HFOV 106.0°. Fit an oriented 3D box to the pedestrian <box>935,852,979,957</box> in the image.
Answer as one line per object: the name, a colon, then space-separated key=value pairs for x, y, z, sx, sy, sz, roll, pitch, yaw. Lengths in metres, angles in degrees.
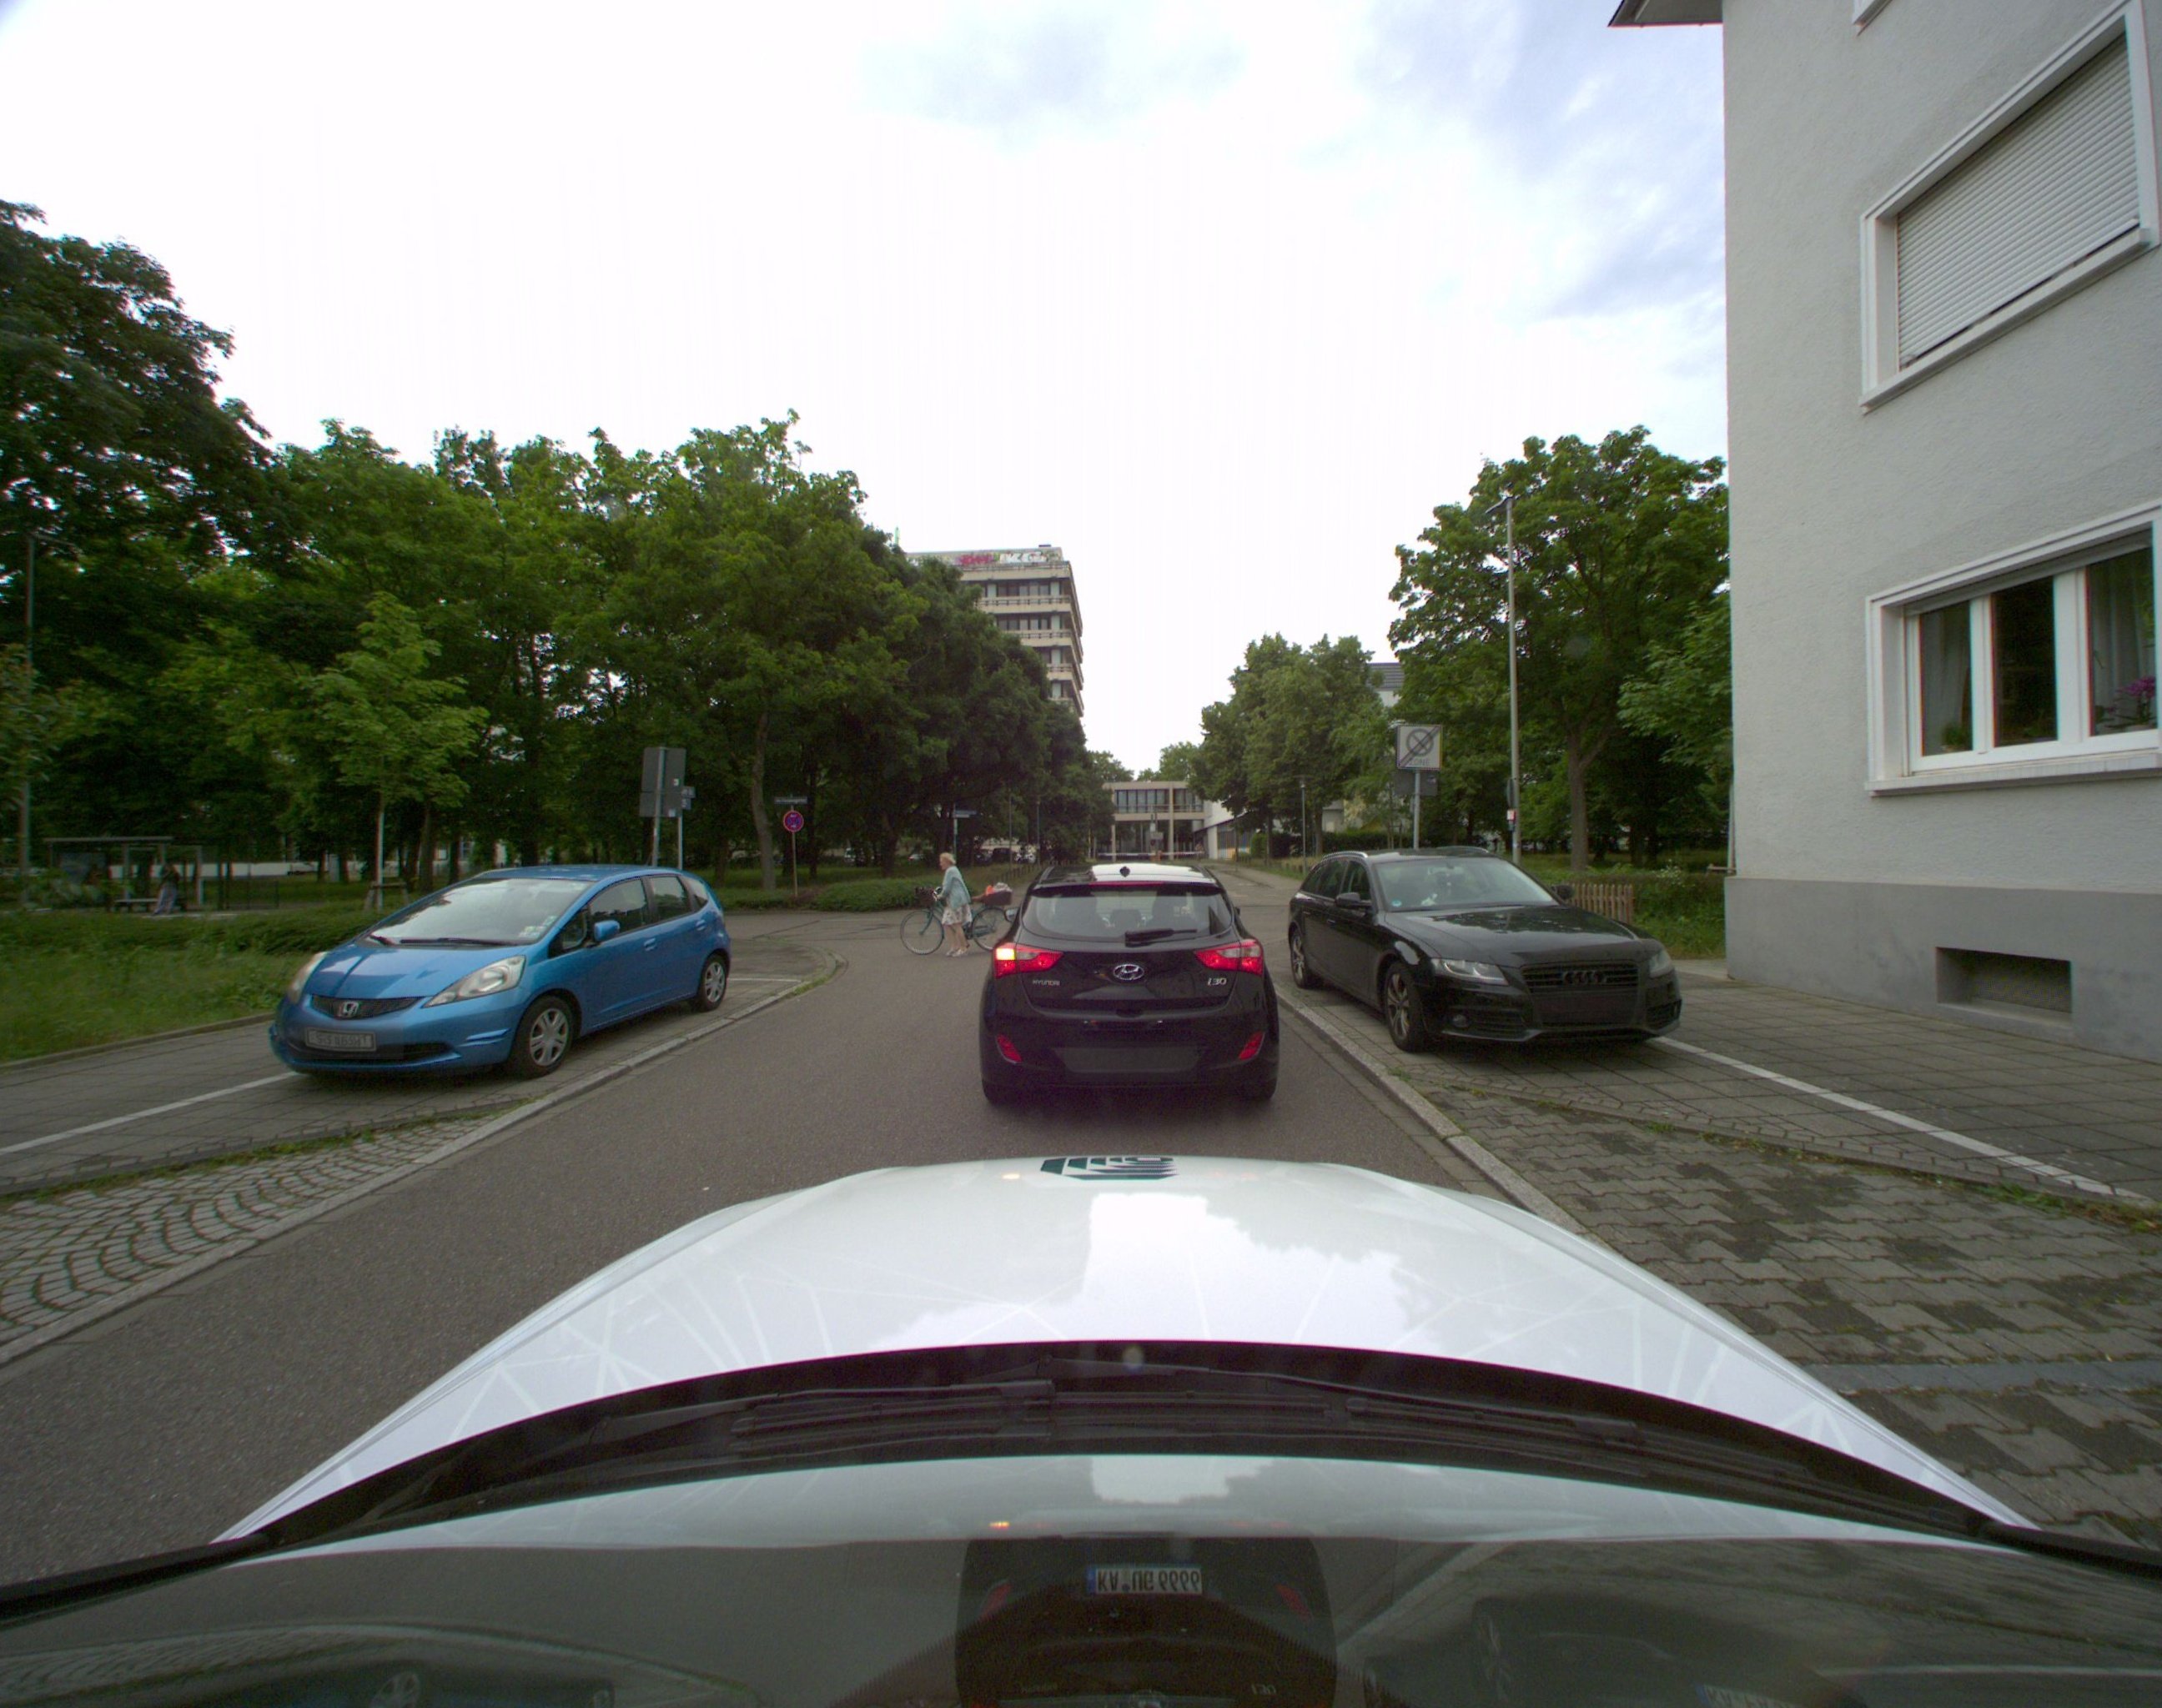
pedestrian: x=-1.907 y=0.761 z=12.568 sx=0.565 sy=1.549 sz=0.447 roll=-3 pitch=0 yaw=-5

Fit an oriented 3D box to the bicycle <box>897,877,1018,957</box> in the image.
bicycle: x=-1.941 y=0.986 z=12.962 sx=1.810 sy=1.119 sz=0.536 roll=-3 pitch=0 yaw=-7

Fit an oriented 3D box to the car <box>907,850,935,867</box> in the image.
car: x=-15.582 y=0.403 z=79.352 sx=1.988 sy=1.618 sz=3.997 roll=-1 pitch=0 yaw=-2

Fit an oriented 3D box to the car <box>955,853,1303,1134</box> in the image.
car: x=0.250 y=0.747 z=6.254 sx=1.840 sy=1.462 sz=3.826 roll=-1 pitch=0 yaw=0

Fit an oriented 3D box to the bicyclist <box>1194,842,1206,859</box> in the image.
bicyclist: x=11.116 y=-0.329 z=76.336 sx=1.013 sy=1.644 sz=0.924 roll=-1 pitch=0 yaw=2

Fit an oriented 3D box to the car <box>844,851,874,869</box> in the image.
car: x=-21.742 y=0.588 z=80.027 sx=1.913 sy=1.618 sz=3.997 roll=-1 pitch=0 yaw=-2

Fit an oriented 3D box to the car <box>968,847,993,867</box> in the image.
car: x=-9.769 y=0.323 z=79.472 sx=1.988 sy=1.794 sz=3.996 roll=-1 pitch=-2 yaw=-2

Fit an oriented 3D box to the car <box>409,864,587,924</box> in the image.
car: x=-15.403 y=1.027 z=21.635 sx=3.521 sy=1.437 sz=1.567 roll=-1 pitch=0 yaw=-1

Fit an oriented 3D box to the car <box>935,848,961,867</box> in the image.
car: x=-12.874 y=0.363 z=79.218 sx=1.988 sy=1.728 sz=3.996 roll=-1 pitch=-2 yaw=-2

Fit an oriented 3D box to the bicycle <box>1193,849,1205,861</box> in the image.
bicycle: x=11.049 y=0.091 z=76.359 sx=0.863 sy=1.074 sz=2.143 roll=-1 pitch=1 yaw=3

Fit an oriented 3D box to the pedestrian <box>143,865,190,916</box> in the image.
pedestrian: x=-29.156 y=1.155 z=25.969 sx=0.693 sy=1.583 sz=0.656 roll=-1 pitch=1 yaw=3

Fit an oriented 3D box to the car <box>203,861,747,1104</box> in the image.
car: x=-4.680 y=0.834 z=7.169 sx=1.724 sy=1.462 sz=3.958 roll=1 pitch=0 yaw=1

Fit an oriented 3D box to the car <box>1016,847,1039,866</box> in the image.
car: x=-5.189 y=0.261 z=79.423 sx=1.988 sy=1.762 sz=3.996 roll=-1 pitch=-1 yaw=-2

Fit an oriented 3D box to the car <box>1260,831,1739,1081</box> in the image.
car: x=3.086 y=0.613 z=7.348 sx=1.854 sy=1.462 sz=4.725 roll=-2 pitch=0 yaw=0
